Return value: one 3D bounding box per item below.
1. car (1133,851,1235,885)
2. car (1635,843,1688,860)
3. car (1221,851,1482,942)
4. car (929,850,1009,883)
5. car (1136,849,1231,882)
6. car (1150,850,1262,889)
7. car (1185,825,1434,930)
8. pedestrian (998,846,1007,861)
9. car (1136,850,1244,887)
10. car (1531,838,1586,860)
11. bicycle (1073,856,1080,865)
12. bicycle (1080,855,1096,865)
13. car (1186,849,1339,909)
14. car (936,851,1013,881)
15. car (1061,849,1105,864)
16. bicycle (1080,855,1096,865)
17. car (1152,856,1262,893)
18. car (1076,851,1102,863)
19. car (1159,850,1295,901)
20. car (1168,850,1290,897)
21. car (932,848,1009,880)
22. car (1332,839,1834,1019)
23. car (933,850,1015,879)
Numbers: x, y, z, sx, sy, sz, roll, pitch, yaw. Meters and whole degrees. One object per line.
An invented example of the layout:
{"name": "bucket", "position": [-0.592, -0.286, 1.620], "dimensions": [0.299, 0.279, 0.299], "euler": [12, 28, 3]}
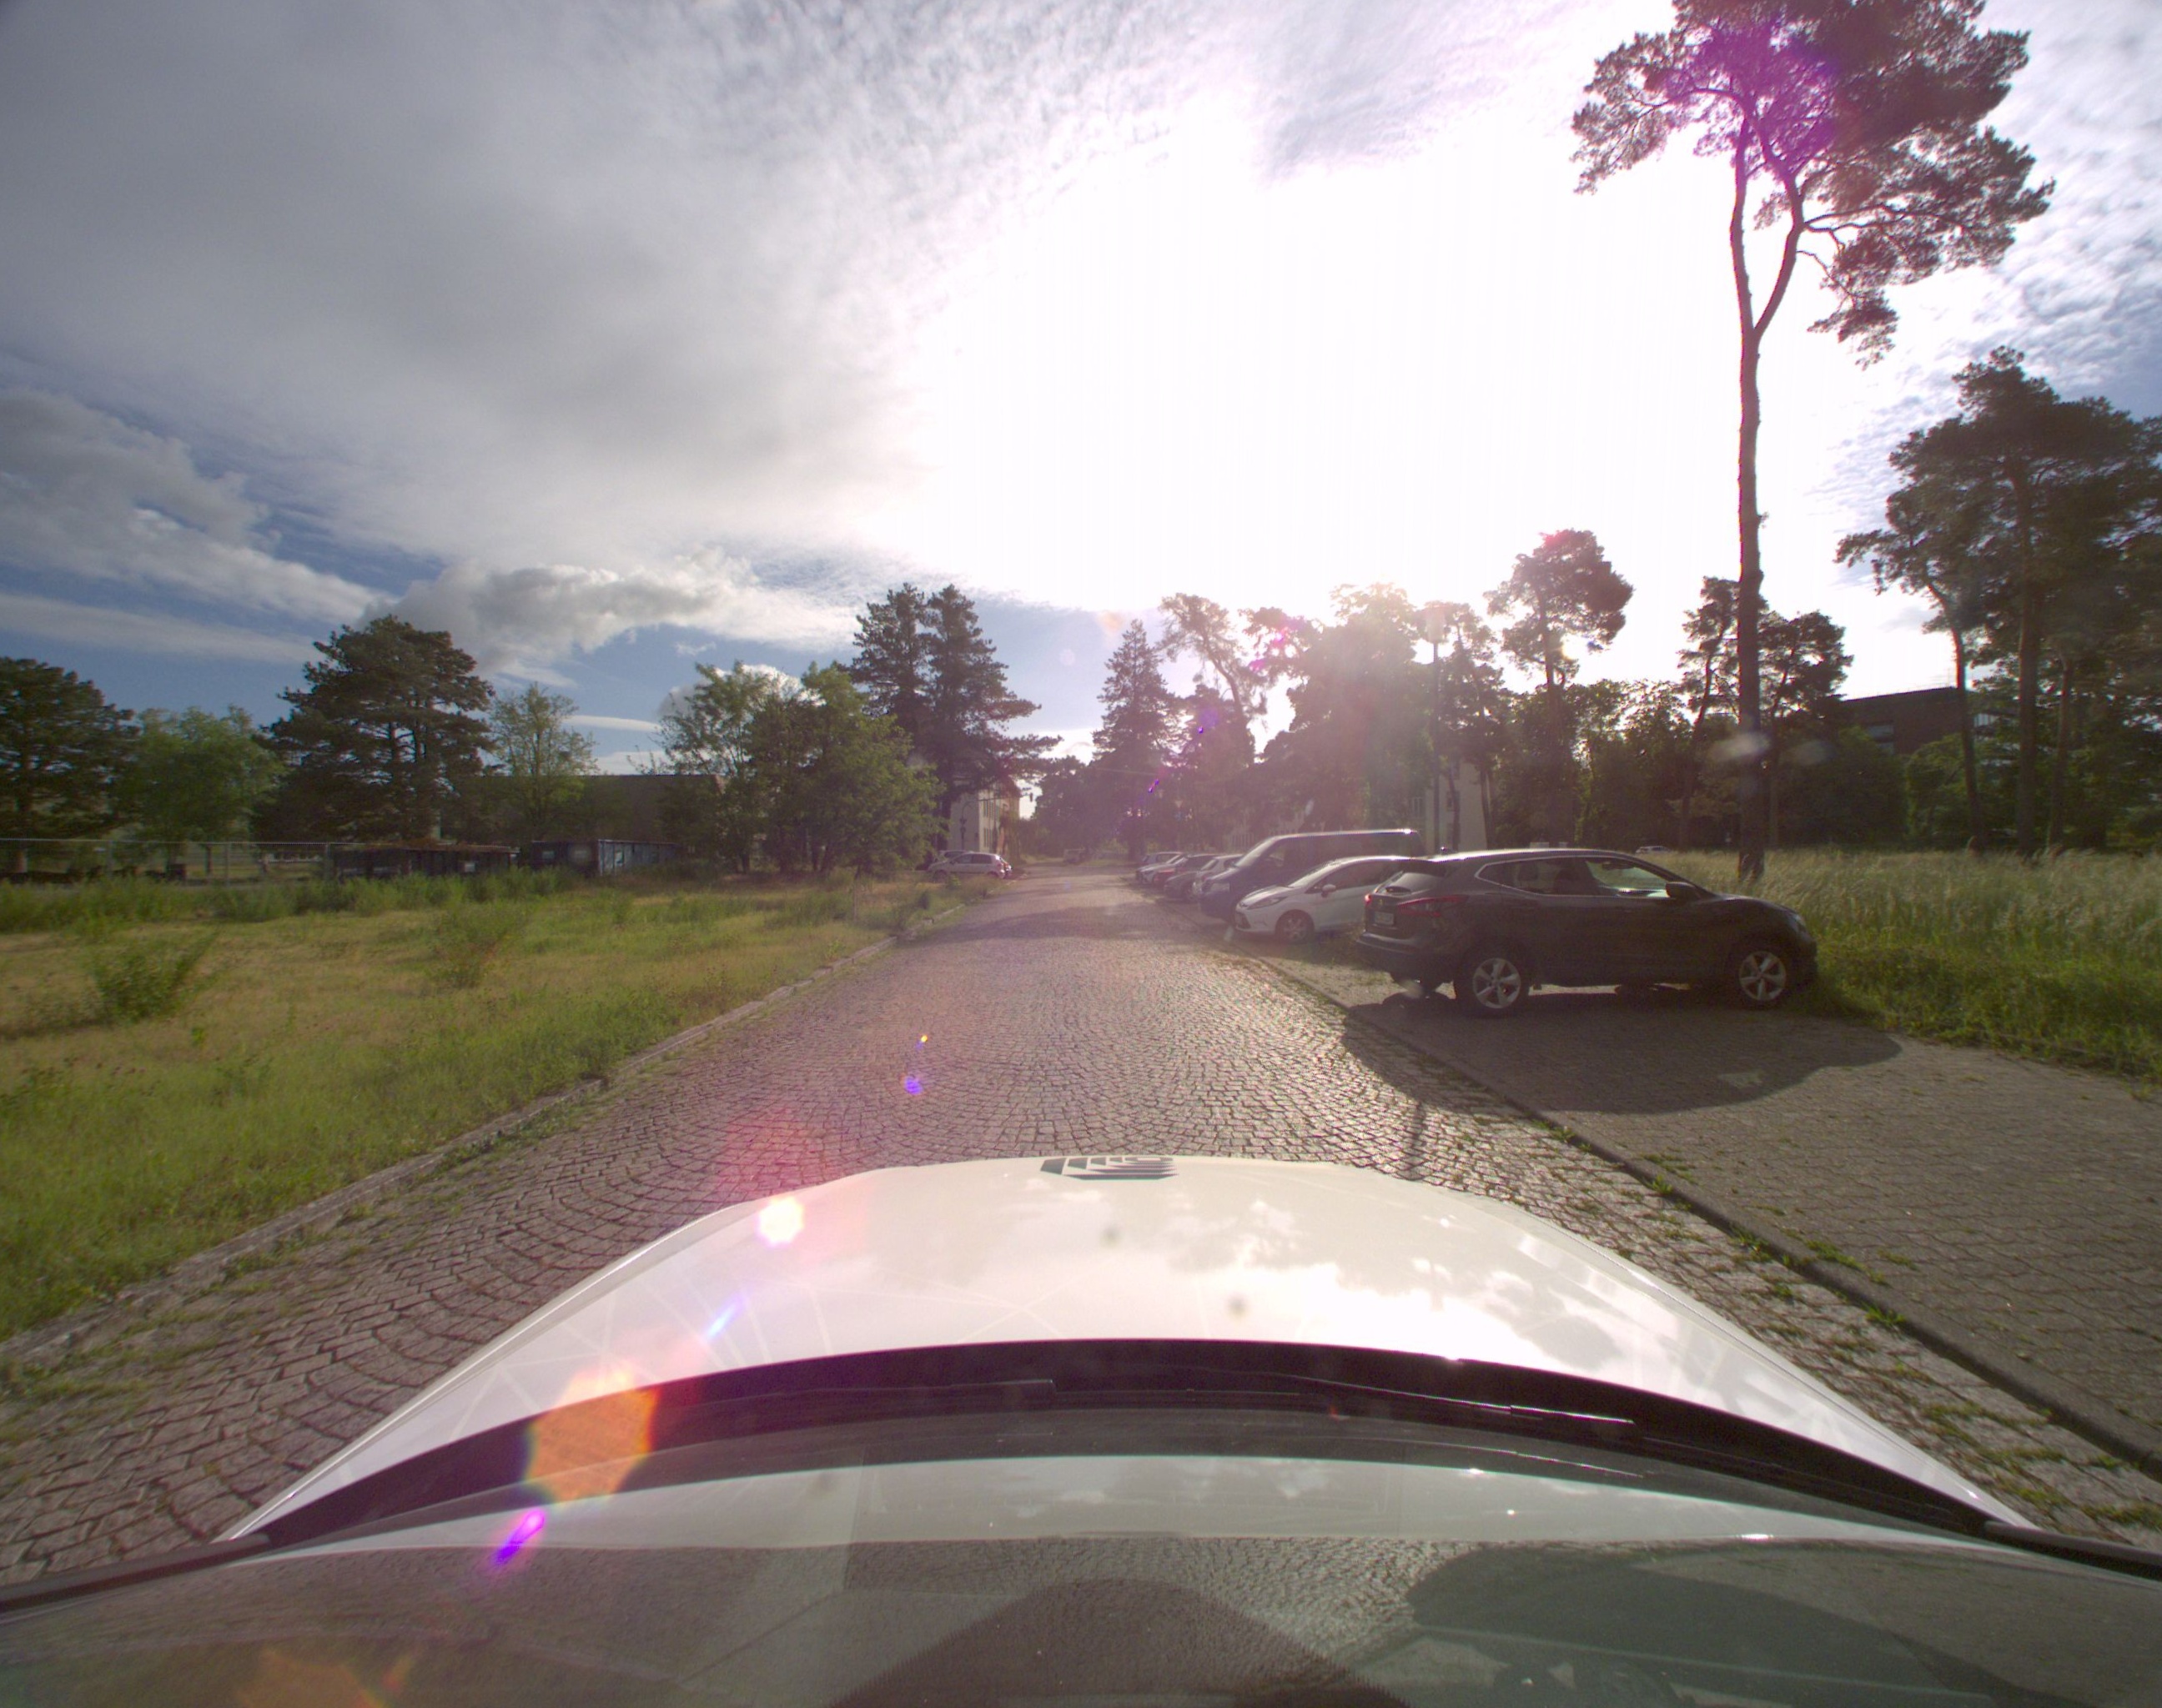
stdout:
{"name": "car", "position": [4.830, 0.633, 38.680], "dimensions": [4.499, 1.473, 1.892], "euler": [-1, -1, -5]}
{"name": "car", "position": [56.700, -0.230, 79.578], "dimensions": [3.923, 1.679, 1.854], "euler": [0, -1, -3]}
{"name": "car", "position": [4.858, 0.735, 14.972], "dimensions": [4.183, 1.470, 1.805], "euler": [-1, -1, -5]}
{"name": "car", "position": [-5.475, 0.614, 40.155], "dimensions": [3.674, 1.473, 1.848], "euler": [2, -1, -3]}
{"name": "car", "position": [5.146, 0.584, 41.313], "dimensions": [4.533, 1.505, 1.931], "euler": [-1, -1, -3]}
{"name": "car", "position": [5.122, 0.645, 33.639], "dimensions": [4.329, 1.473, 1.739], "euler": [-1, -1, -2]}
{"name": "car", "position": [4.769, 0.474, 17.491], "dimensions": [4.720, 1.928, 1.991], "euler": [-2, -1, -2]}
{"name": "pedestrian", "position": [-10.037, -0.034, 104.357], "dimensions": [0.982, 1.963, 0.932], "euler": [0, -1, -2]}
{"name": "car", "position": [4.756, 0.636, 35.899], "dimensions": [4.494, 1.473, 1.848], "euler": [-1, -1, -2]}
{"name": "car", "position": [56.006, -0.523, 95.667], "dimensions": [5.141, 2.536, 2.264], "euler": [0, -1, 0]}
{"name": "bicycle", "position": [-0.529, 0.690, 88.656], "dimensions": [0.726, 0.999, 1.798], "euler": [-1, 1, -1]}
{"name": "bicycle", "position": [0.791, 0.672, 92.279], "dimensions": [1.788, 0.999, 0.644], "euler": [-1, 1, -3]}
{"name": "car", "position": [5.011, 0.669, 22.840], "dimensions": [3.863, 1.530, 1.807], "euler": [-1, -1, -1]}
{"name": "car", "position": [-5.547, 0.633, 42.808], "dimensions": [3.818, 1.429, 1.857], "euler": [2, -1, -2]}
{"name": "car", "position": [0.269, 0.285, 108.201], "dimensions": [5.510, 1.916, 2.243], "euler": [0, -1, -15]}
{"name": "bicycle", "position": [0.776, 0.681, 93.299], "dimensions": [1.788, 0.999, 0.644], "euler": [-1, 1, -3]}
{"name": "car", "position": [4.763, 0.770, 31.251], "dimensions": [3.939, 1.261, 1.726], "euler": [-1, -1, -1]}
{"name": "car", "position": [0.984, 0.381, 104.653], "dimensions": [3.036, 1.465, 1.712], "euler": [0, -1, -14]}
{"name": "car", "position": [4.531, 0.669, 25.685], "dimensions": [3.939, 1.467, 1.830], "euler": [-1, -1, -1]}
{"name": "car", "position": [5.134, 0.669, 28.623], "dimensions": [3.939, 1.495, 1.771], "euler": [-1, -1, -1]}
{"name": "car", "position": [-6.130, 0.542, 45.488], "dimensions": [4.115, 1.600, 1.855], "euler": [2, -1, -6]}
{"name": "car", "position": [5.052, 0.700, 8.622], "dimensions": [4.180, 1.589, 1.876], "euler": [-1, -1, -2]}
{"name": "car", "position": [-6.252, 0.599, 48.026], "dimensions": [4.577, 1.455, 1.901], "euler": [2, 1, -4]}
